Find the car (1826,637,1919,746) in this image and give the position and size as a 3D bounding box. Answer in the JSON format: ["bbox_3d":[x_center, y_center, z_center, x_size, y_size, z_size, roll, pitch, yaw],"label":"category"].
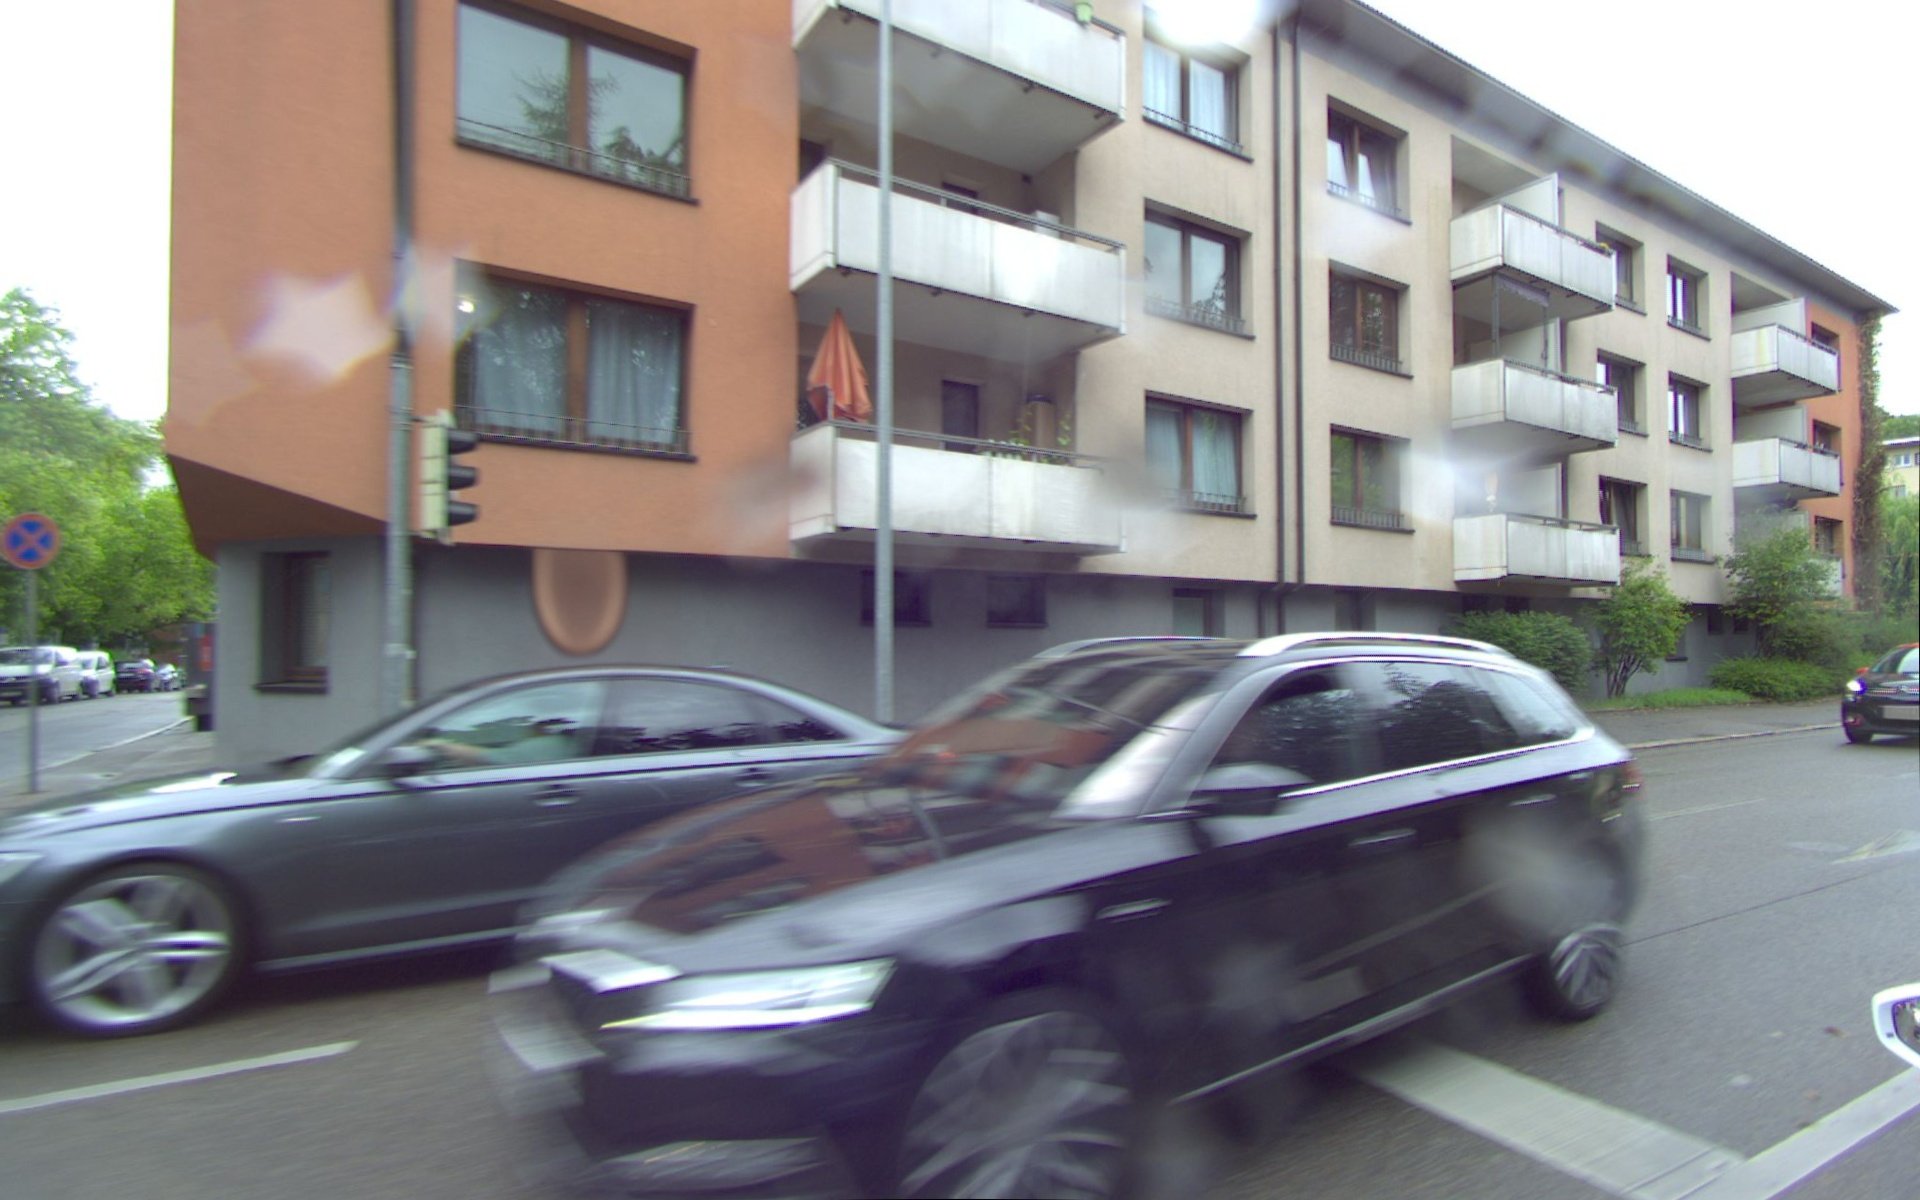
[{"bbox_3d":[14.977,1.311,15.183,3.844,1.511,1.679,1,-3,-31],"label":"car"}]

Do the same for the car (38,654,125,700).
[{"bbox_3d":[-33.763,2.930,38.705,1.799,1.618,4.335,1,-3,-32],"label":"car"}]

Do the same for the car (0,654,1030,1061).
[{"bbox_3d":[-2.084,1.045,5.498,4.751,1.434,1.805,1,-4,-31],"label":"car"}]

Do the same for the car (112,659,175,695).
[{"bbox_3d":[-39.302,3.681,48.429,1.799,1.618,4.335,1,-3,-32],"label":"car"}]

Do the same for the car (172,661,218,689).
[{"bbox_3d":[-47.048,4.607,61.844,1.799,1.618,4.335,1,-3,-32],"label":"car"}]

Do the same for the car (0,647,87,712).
[{"bbox_3d":[-30.899,2.627,33.609,1.799,2.026,4.587,1,-3,-32],"label":"car"}]

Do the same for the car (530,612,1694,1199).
[{"bbox_3d":[0.909,0.870,3.864,4.448,1.476,1.784,2,-4,-36],"label":"car"}]
